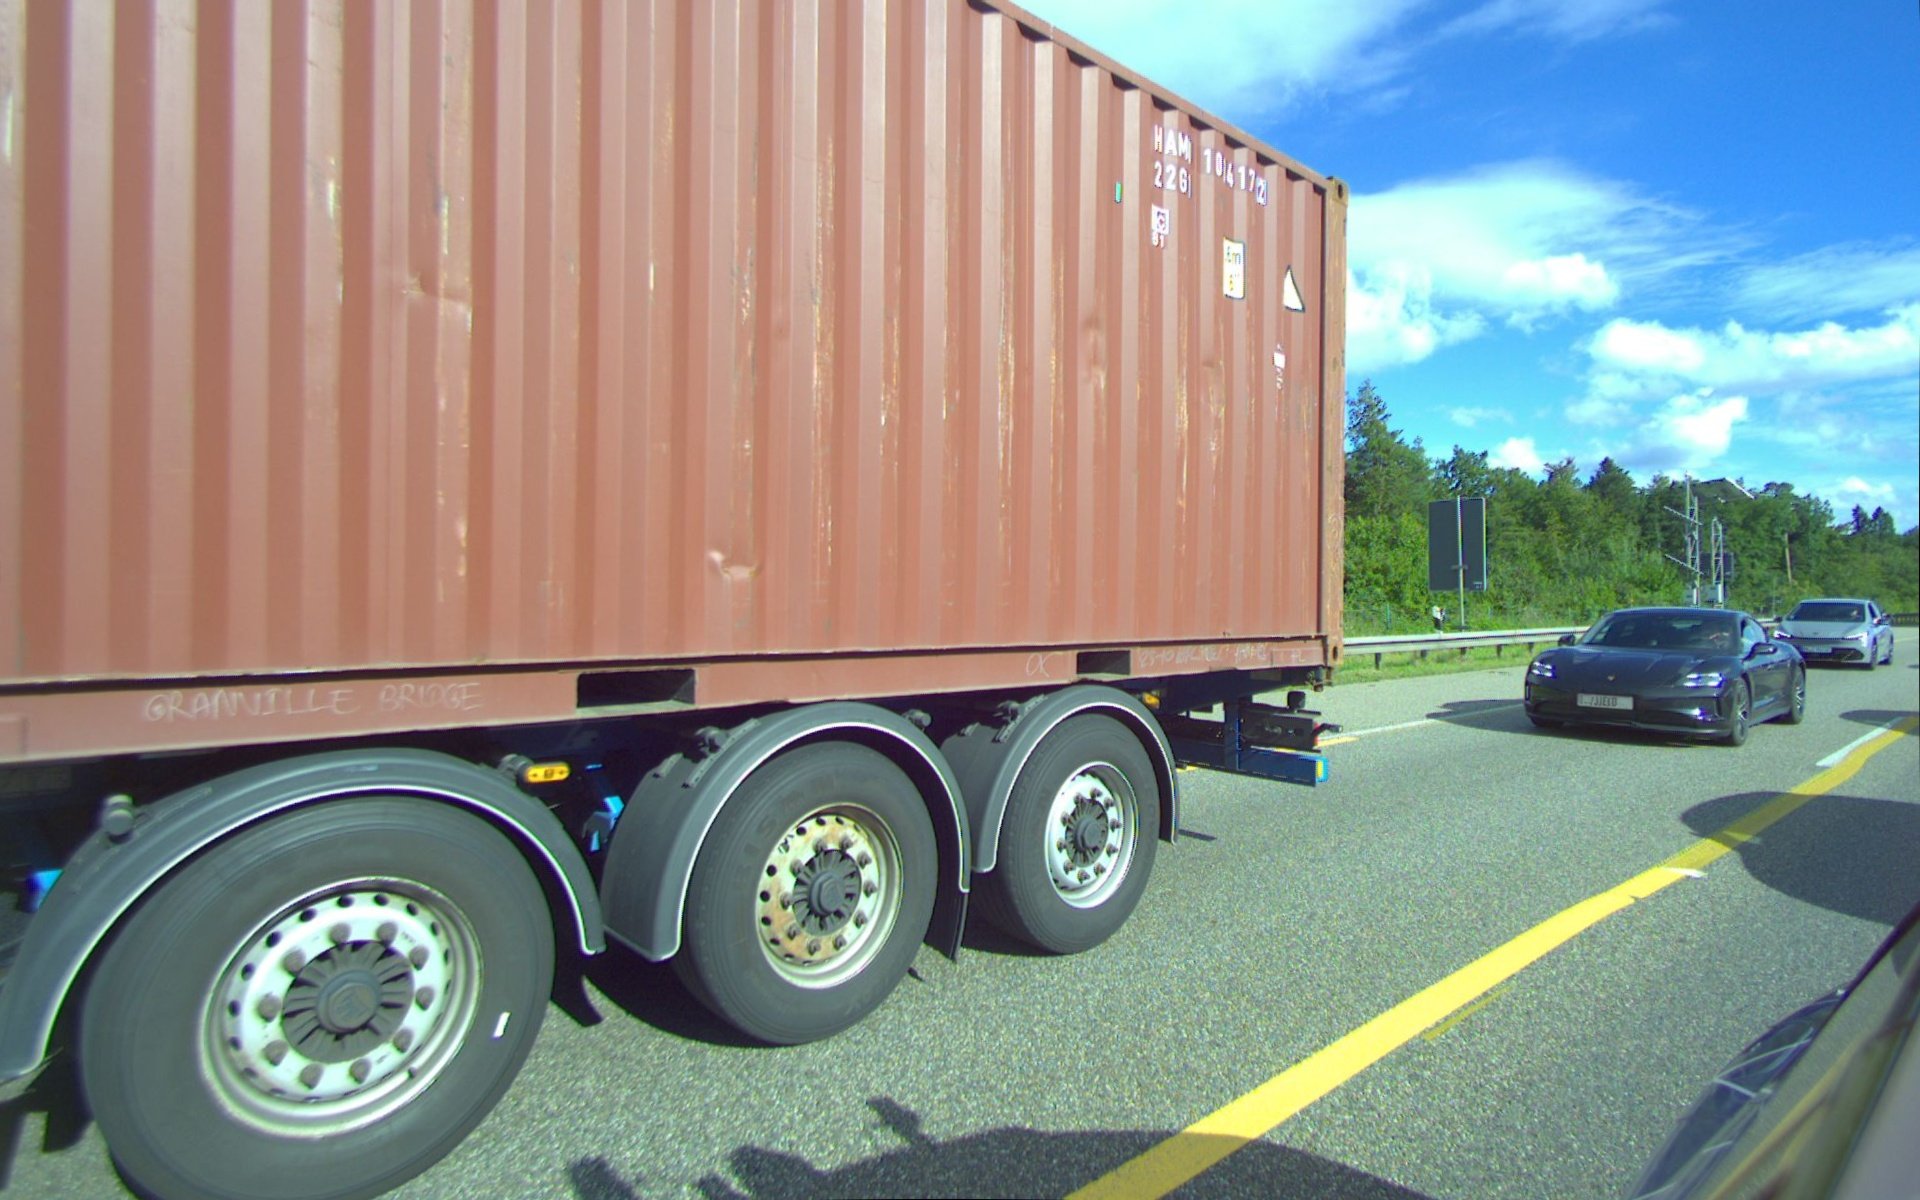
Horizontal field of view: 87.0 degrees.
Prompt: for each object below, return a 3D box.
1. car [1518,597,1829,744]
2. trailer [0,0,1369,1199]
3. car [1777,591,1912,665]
[{"bbox_3d":[8.355,0.660,11.705,4.399,1.367,1.932,0,0,-41],"label":"car"},{"bbox_3d":[-3.057,-0.531,2.461,11.925,3.822,2.475,0,1,-42],"label":"trailer"},{"bbox_3d":[20.112,0.572,22.960,3.898,1.498,1.761,-1,1,-40],"label":"car"}]
